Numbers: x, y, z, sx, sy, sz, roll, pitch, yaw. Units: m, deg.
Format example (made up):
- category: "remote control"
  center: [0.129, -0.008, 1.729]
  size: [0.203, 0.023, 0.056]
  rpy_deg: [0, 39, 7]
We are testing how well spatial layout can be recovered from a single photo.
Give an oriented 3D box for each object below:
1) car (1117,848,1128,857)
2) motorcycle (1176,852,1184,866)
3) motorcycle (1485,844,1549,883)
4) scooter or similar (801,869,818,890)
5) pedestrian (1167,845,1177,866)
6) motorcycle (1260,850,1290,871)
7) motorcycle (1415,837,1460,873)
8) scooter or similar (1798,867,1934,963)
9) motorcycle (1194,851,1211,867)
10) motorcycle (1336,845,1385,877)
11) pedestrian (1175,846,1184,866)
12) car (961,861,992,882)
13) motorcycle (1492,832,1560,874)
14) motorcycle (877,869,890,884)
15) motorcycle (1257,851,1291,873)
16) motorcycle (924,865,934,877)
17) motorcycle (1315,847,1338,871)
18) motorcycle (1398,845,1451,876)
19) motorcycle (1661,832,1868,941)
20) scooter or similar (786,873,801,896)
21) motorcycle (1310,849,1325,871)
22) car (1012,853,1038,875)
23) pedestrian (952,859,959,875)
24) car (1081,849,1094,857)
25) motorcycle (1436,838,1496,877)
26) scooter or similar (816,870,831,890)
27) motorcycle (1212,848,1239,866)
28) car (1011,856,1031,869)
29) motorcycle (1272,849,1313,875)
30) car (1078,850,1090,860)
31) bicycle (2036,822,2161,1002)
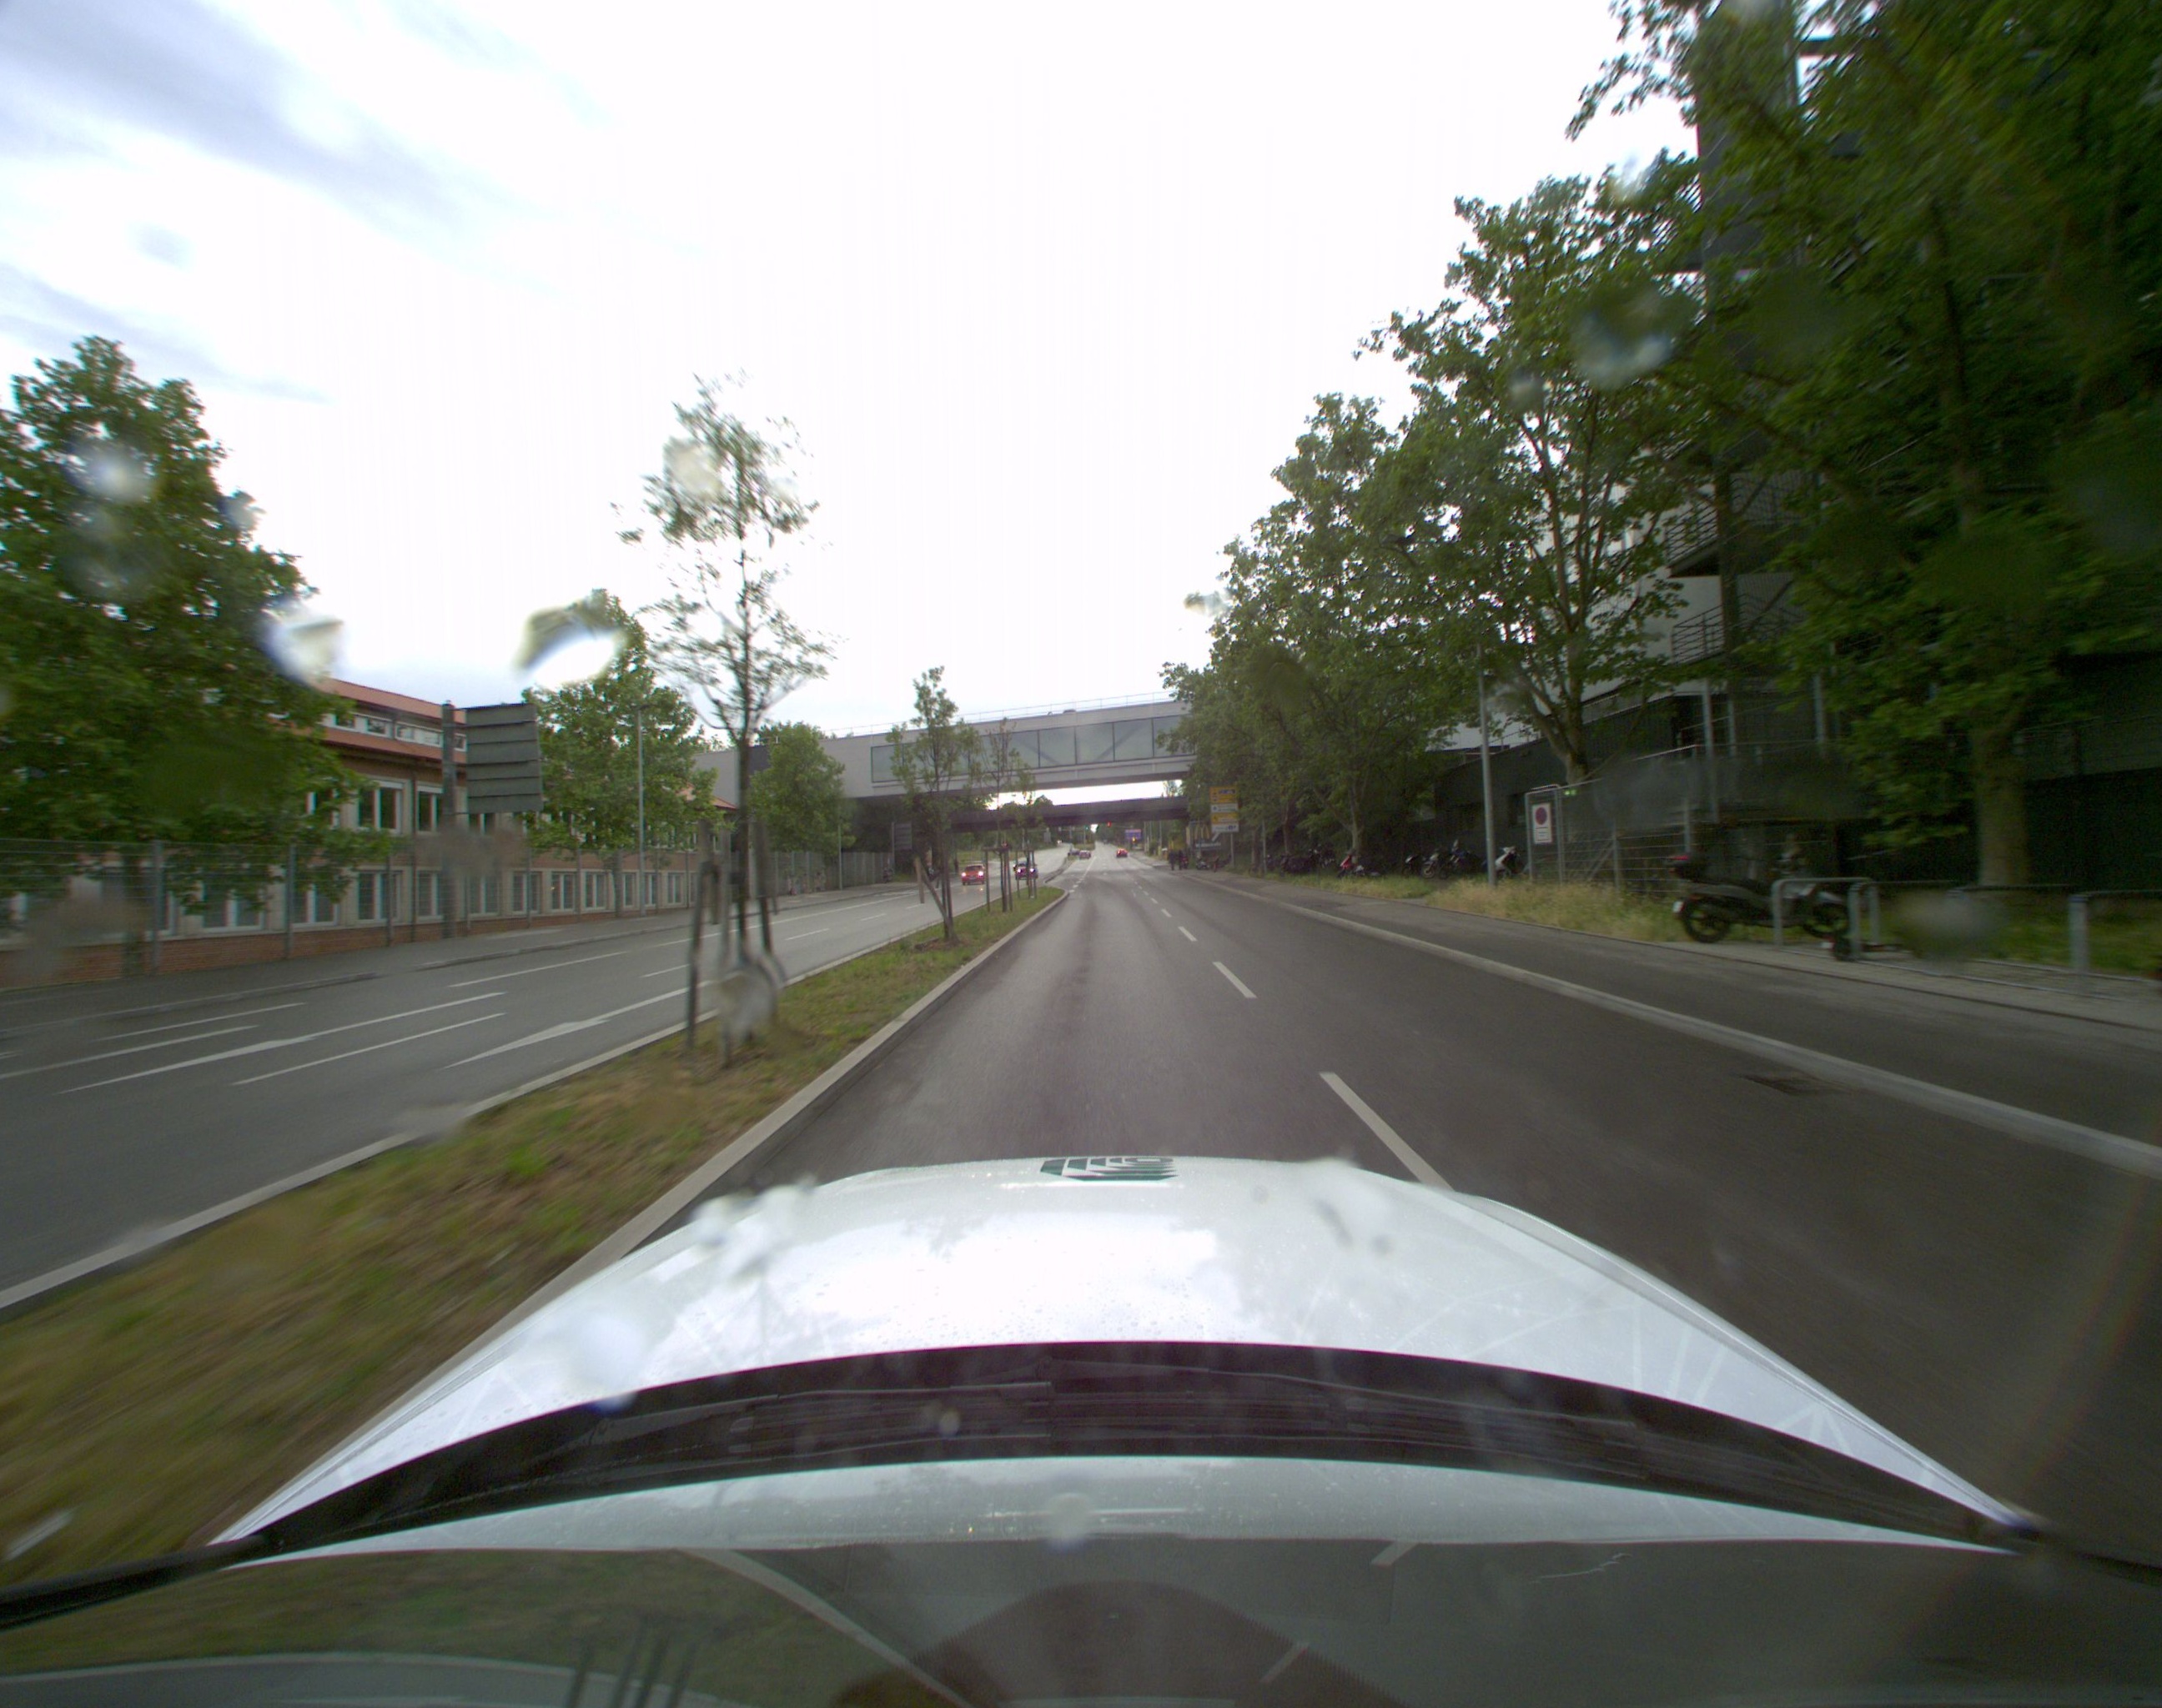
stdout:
- category: "car"
  center: [7.424, -0.239, 145.902]
  size: [1.739, 1.470, 4.167]
  rpy_deg: [-2, 1, 1]
- category: "motorcycle"
  center: [8.229, 0.443, 67.768]
  size: [0.468, 1.136, 1.819]
  rpy_deg: [-3, 0, 1]
- category: "motorcycle"
  center: [13.358, 0.297, 24.992]
  size: [1.627, 1.145, 0.561]
  rpy_deg: [-1, -1, 12]
- category: "scooter or similar"
  center: [-16.590, 1.571, 49.759]
  size: [0.309, 1.218, 1.312]
  rpy_deg: [-3, 0, 13]
- category: "pedestrian"
  center: [7.532, 0.127, 67.486]
  size: [0.607, 1.721, 0.895]
  rpy_deg: [-3, 0, 11]
- category: "motorcycle"
  center: [12.042, 0.405, 50.702]
  size: [0.632, 1.253, 1.835]
  rpy_deg: [-3, 0, -33]
- category: "motorcycle"
  center: [13.648, 0.054, 31.207]
  size: [1.495, 1.365, 0.505]
  rpy_deg: [0, -1, -4]
- category: "scooter or similar"
  center: [8.698, 0.651, 9.020]
  size: [1.476, 0.937, 0.364]
  rpy_deg: [-3, -1, -16]
- category: "motorcycle"
  center: [9.660, 0.431, 64.801]
  size: [0.470, 1.213, 1.934]
  rpy_deg: [-3, 0, -15]
- category: "motorcycle"
  center: [10.282, 0.249, 29.953]
  size: [1.643, 1.150, 0.494]
  rpy_deg: [-1, -1, 9]
- category: "pedestrian"
  center: [8.145, 0.136, 67.303]
  size: [0.646, 1.596, 0.581]
  rpy_deg: [-3, 0, 13]
- category: "car"
  center: [-7.787, 1.283, 60.786]
  size: [1.710, 1.437, 3.772]
  rpy_deg: [-4, -1, 0]
- category: "motorcycle"
  center: [12.712, -0.013, 23.326]
  size: [0.477, 1.145, 1.885]
  rpy_deg: [0, -1, -18]
- category: "motorcycle"
  center: [-16.057, 1.822, 66.362]
  size: [0.467, 1.205, 1.997]
  rpy_deg: [-3, 0, 1]
- category: "motorcycle"
  center: [11.611, 0.491, 49.000]
  size: [1.851, 1.253, 0.627]
  rpy_deg: [-3, 0, -14]
- category: "motorcycle"
  center: [-15.736, 1.737, 84.462]
  size: [0.466, 1.158, 1.935]
  rpy_deg: [-3, 0, 5]
- category: "motorcycle"
  center: [13.495, 0.266, 44.810]
  size: [0.643, 1.279, 1.991]
  rpy_deg: [-3, -1, 1]
- category: "motorcycle"
  center: [13.946, 0.269, 33.061]
  size: [1.904, 1.257, 0.492]
  rpy_deg: [-1, -1, 7]
- category: "motorcycle"
  center: [8.698, 0.422, 10.430]
  size: [1.994, 1.273, 0.443]
  rpy_deg: [-3, -1, 13]
- category: "scooter or similar"
  center: [-16.651, 1.761, 47.186]
  size: [0.310, 1.218, 1.308]
  rpy_deg: [-3, 0, 2]
- category: "motorcycle"
  center: [14.742, 0.352, 50.694]
  size: [0.345, 1.279, 2.084]
  rpy_deg: [-3, 0, 29]
- category: "car"
  center: [-4.479, 0.800, 65.775]
  size: [1.579, 1.605, 3.856]
  rpy_deg: [-4, -1, 1]
- category: "pedestrian"
  center: [-14.244, 1.480, 92.344]
  size: [0.516, 1.816, 0.802]
  rpy_deg: [-2, 0, 11]
- category: "car"
  center: [1.343, -0.168, 162.052]
  size: [2.156, 1.583, 4.669]
  rpy_deg: [-1, -1, 4]
- category: "motorcycle"
  center: [13.736, 0.136, 29.071]
  size: [1.924, 1.365, 0.505]
  rpy_deg: [0, -1, -4]
- category: "scooter or similar"
  center: [-16.488, 1.632, 52.157]
  size: [0.310, 1.218, 1.310]
  rpy_deg: [-3, 0, 6]
- category: "motorcycle"
  center: [11.132, 0.216, 62.899]
  size: [1.919, 1.297, 0.551]
  rpy_deg: [-3, -1, 36]
- category: "car"
  center: [-7.348, 1.034, 99.870]
  size: [2.057, 1.361, 4.756]
  rpy_deg: [-3, 0, 0]
- category: "motorcycle"
  center: [10.373, 0.394, 39.936]
  size: [1.851, 1.191, 0.519]
  rpy_deg: [-3, 0, -14]
- category: "car"
  center: [0.514, 0.122, 147.617]
  size: [2.070, 1.718, 4.197]
  rpy_deg: [-1, -1, 0]
- category: "bicycle"
  center: [8.829, 0.419, 6.646]
  size: [1.858, 1.348, 0.446]
  rpy_deg: [-3, -1, -11]
